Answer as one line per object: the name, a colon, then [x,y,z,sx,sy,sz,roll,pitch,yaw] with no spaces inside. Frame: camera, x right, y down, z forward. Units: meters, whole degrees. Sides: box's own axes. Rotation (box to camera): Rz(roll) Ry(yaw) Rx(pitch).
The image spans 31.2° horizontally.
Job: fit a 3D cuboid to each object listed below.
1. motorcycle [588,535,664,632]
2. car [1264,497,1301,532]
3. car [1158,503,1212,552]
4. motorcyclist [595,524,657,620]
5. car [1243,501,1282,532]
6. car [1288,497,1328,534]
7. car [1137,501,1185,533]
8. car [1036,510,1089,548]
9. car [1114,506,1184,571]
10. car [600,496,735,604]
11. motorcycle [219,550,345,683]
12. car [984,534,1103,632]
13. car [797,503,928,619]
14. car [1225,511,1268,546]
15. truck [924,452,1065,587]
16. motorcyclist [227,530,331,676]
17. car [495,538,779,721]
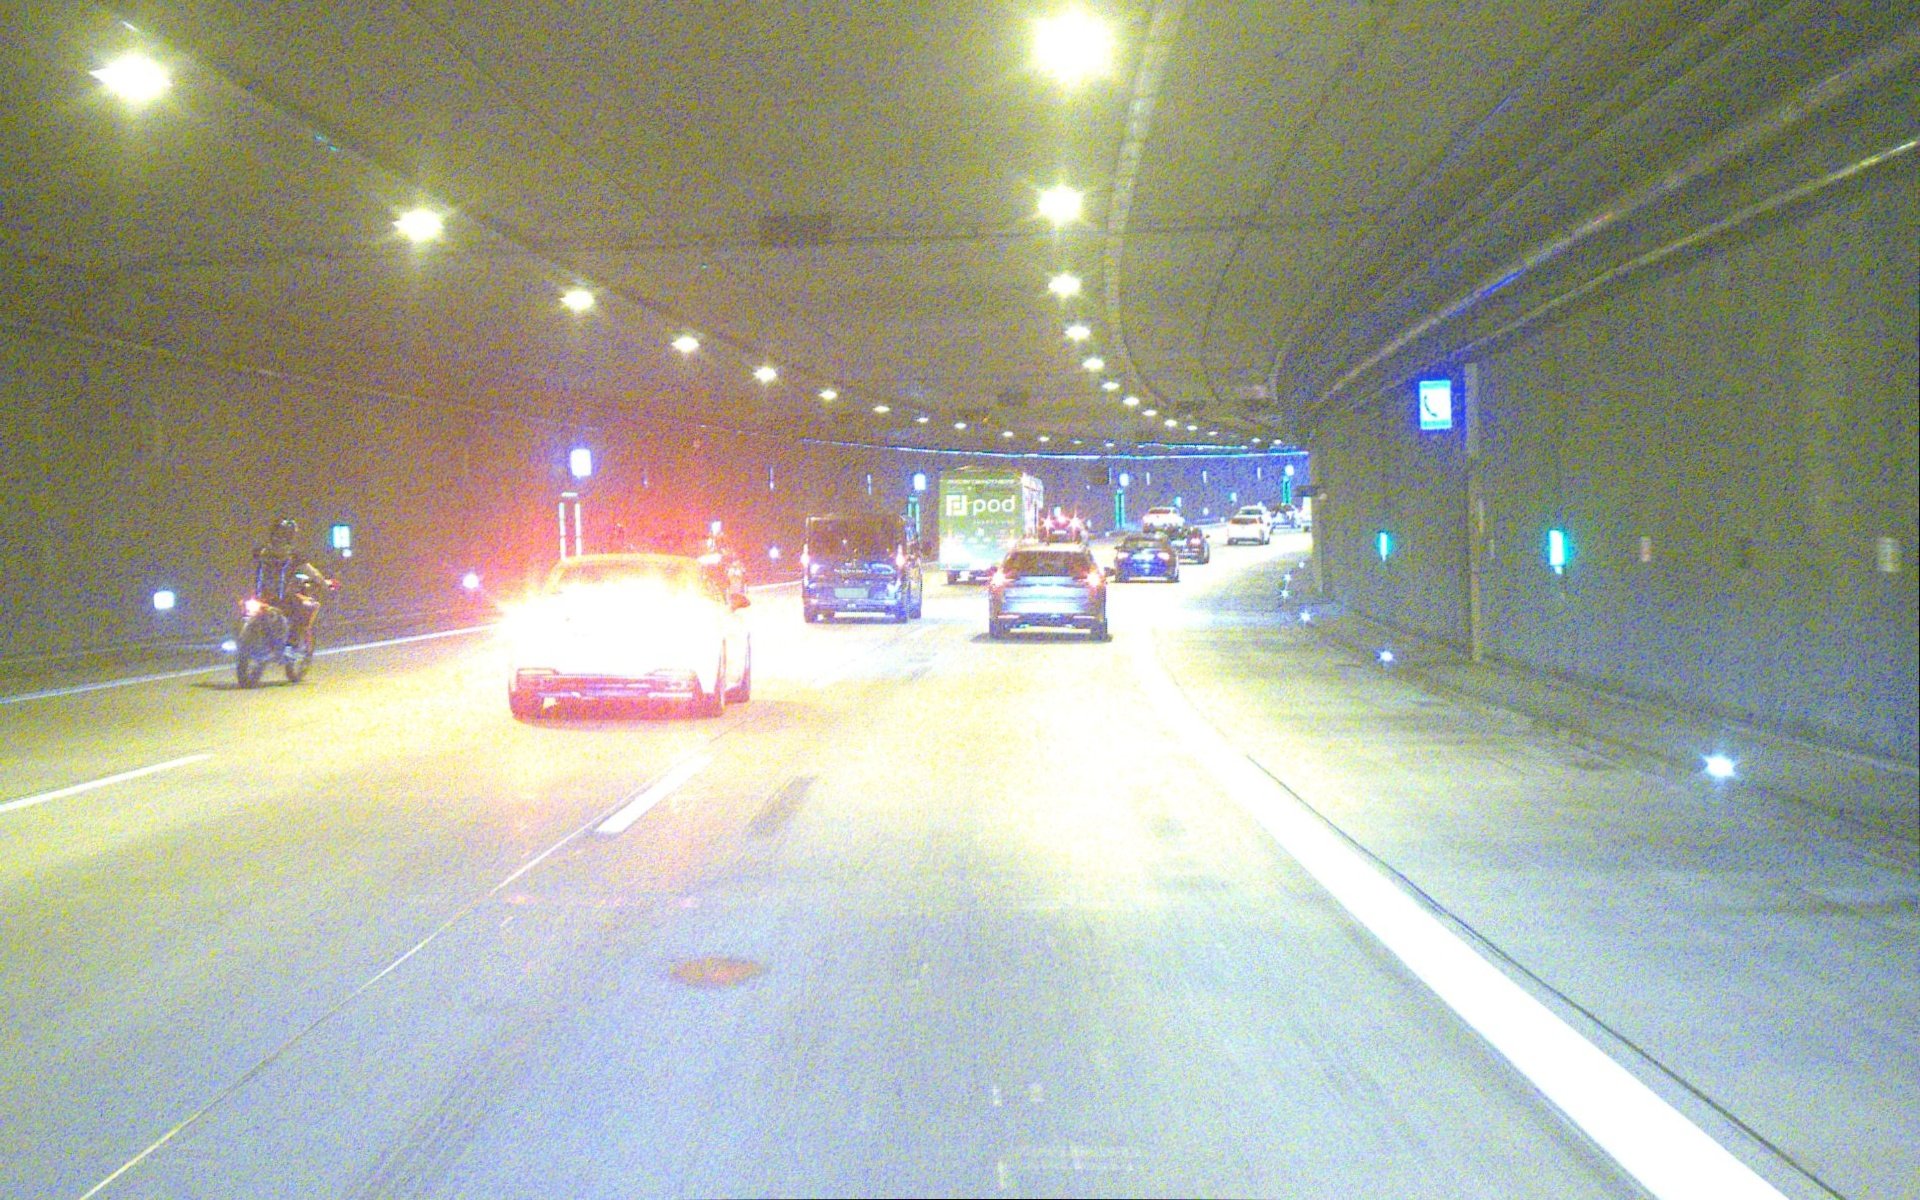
motorcycle: [-5.117,-0.260,52.886,0.926,1.429,2.964,1,1,-1]
car: [19.198,-5.098,204.701,1.994,2.007,3.999,1,0,8]
car: [8.401,-2.678,128.229,1.950,1.766,3.999,1,0,5]
motorcyclist: [-5.128,-0.425,52.891,0.806,1.443,1.865,0,0,-1]
car: [16.711,-4.623,189.601,1.994,1.626,3.999,1,0,7]
car: [20.057,-4.852,198.013,1.994,2.007,3.998,1,0,10]
car: [10.840,-4.481,185.065,1.932,1.637,3.998,1,0,13]
car: [4.519,-3.126,151.108,1.931,1.637,3.999,1,1,7]
car: [5.554,-1.784,100.530,1.857,1.848,3.999,1,1,6]
car: [-5.577,-0.966,66.082,1.994,2.007,4.000,1,1,4]
motorcycle: [-6.838,0.144,34.764,0.683,1.292,2.398,0,1,3]
car: [1.329,-0.258,53.405,1.742,1.459,3.871,0,0,3]
car: [-1.708,-0.727,61.735,1.910,1.937,3.871,0,3,5]
car: [13.781,-3.441,165.369,1.931,1.637,3.999,1,0,7]
truck: [1.046,-2.267,97.851,3.040,3.660,7.390,1,1,8]
motorcyclist: [-6.873,0.026,34.739,0.777,1.447,1.069,1,0,3]
car: [-2.788,0.198,30.784,1.702,1.414,5.060,0,2,4]
